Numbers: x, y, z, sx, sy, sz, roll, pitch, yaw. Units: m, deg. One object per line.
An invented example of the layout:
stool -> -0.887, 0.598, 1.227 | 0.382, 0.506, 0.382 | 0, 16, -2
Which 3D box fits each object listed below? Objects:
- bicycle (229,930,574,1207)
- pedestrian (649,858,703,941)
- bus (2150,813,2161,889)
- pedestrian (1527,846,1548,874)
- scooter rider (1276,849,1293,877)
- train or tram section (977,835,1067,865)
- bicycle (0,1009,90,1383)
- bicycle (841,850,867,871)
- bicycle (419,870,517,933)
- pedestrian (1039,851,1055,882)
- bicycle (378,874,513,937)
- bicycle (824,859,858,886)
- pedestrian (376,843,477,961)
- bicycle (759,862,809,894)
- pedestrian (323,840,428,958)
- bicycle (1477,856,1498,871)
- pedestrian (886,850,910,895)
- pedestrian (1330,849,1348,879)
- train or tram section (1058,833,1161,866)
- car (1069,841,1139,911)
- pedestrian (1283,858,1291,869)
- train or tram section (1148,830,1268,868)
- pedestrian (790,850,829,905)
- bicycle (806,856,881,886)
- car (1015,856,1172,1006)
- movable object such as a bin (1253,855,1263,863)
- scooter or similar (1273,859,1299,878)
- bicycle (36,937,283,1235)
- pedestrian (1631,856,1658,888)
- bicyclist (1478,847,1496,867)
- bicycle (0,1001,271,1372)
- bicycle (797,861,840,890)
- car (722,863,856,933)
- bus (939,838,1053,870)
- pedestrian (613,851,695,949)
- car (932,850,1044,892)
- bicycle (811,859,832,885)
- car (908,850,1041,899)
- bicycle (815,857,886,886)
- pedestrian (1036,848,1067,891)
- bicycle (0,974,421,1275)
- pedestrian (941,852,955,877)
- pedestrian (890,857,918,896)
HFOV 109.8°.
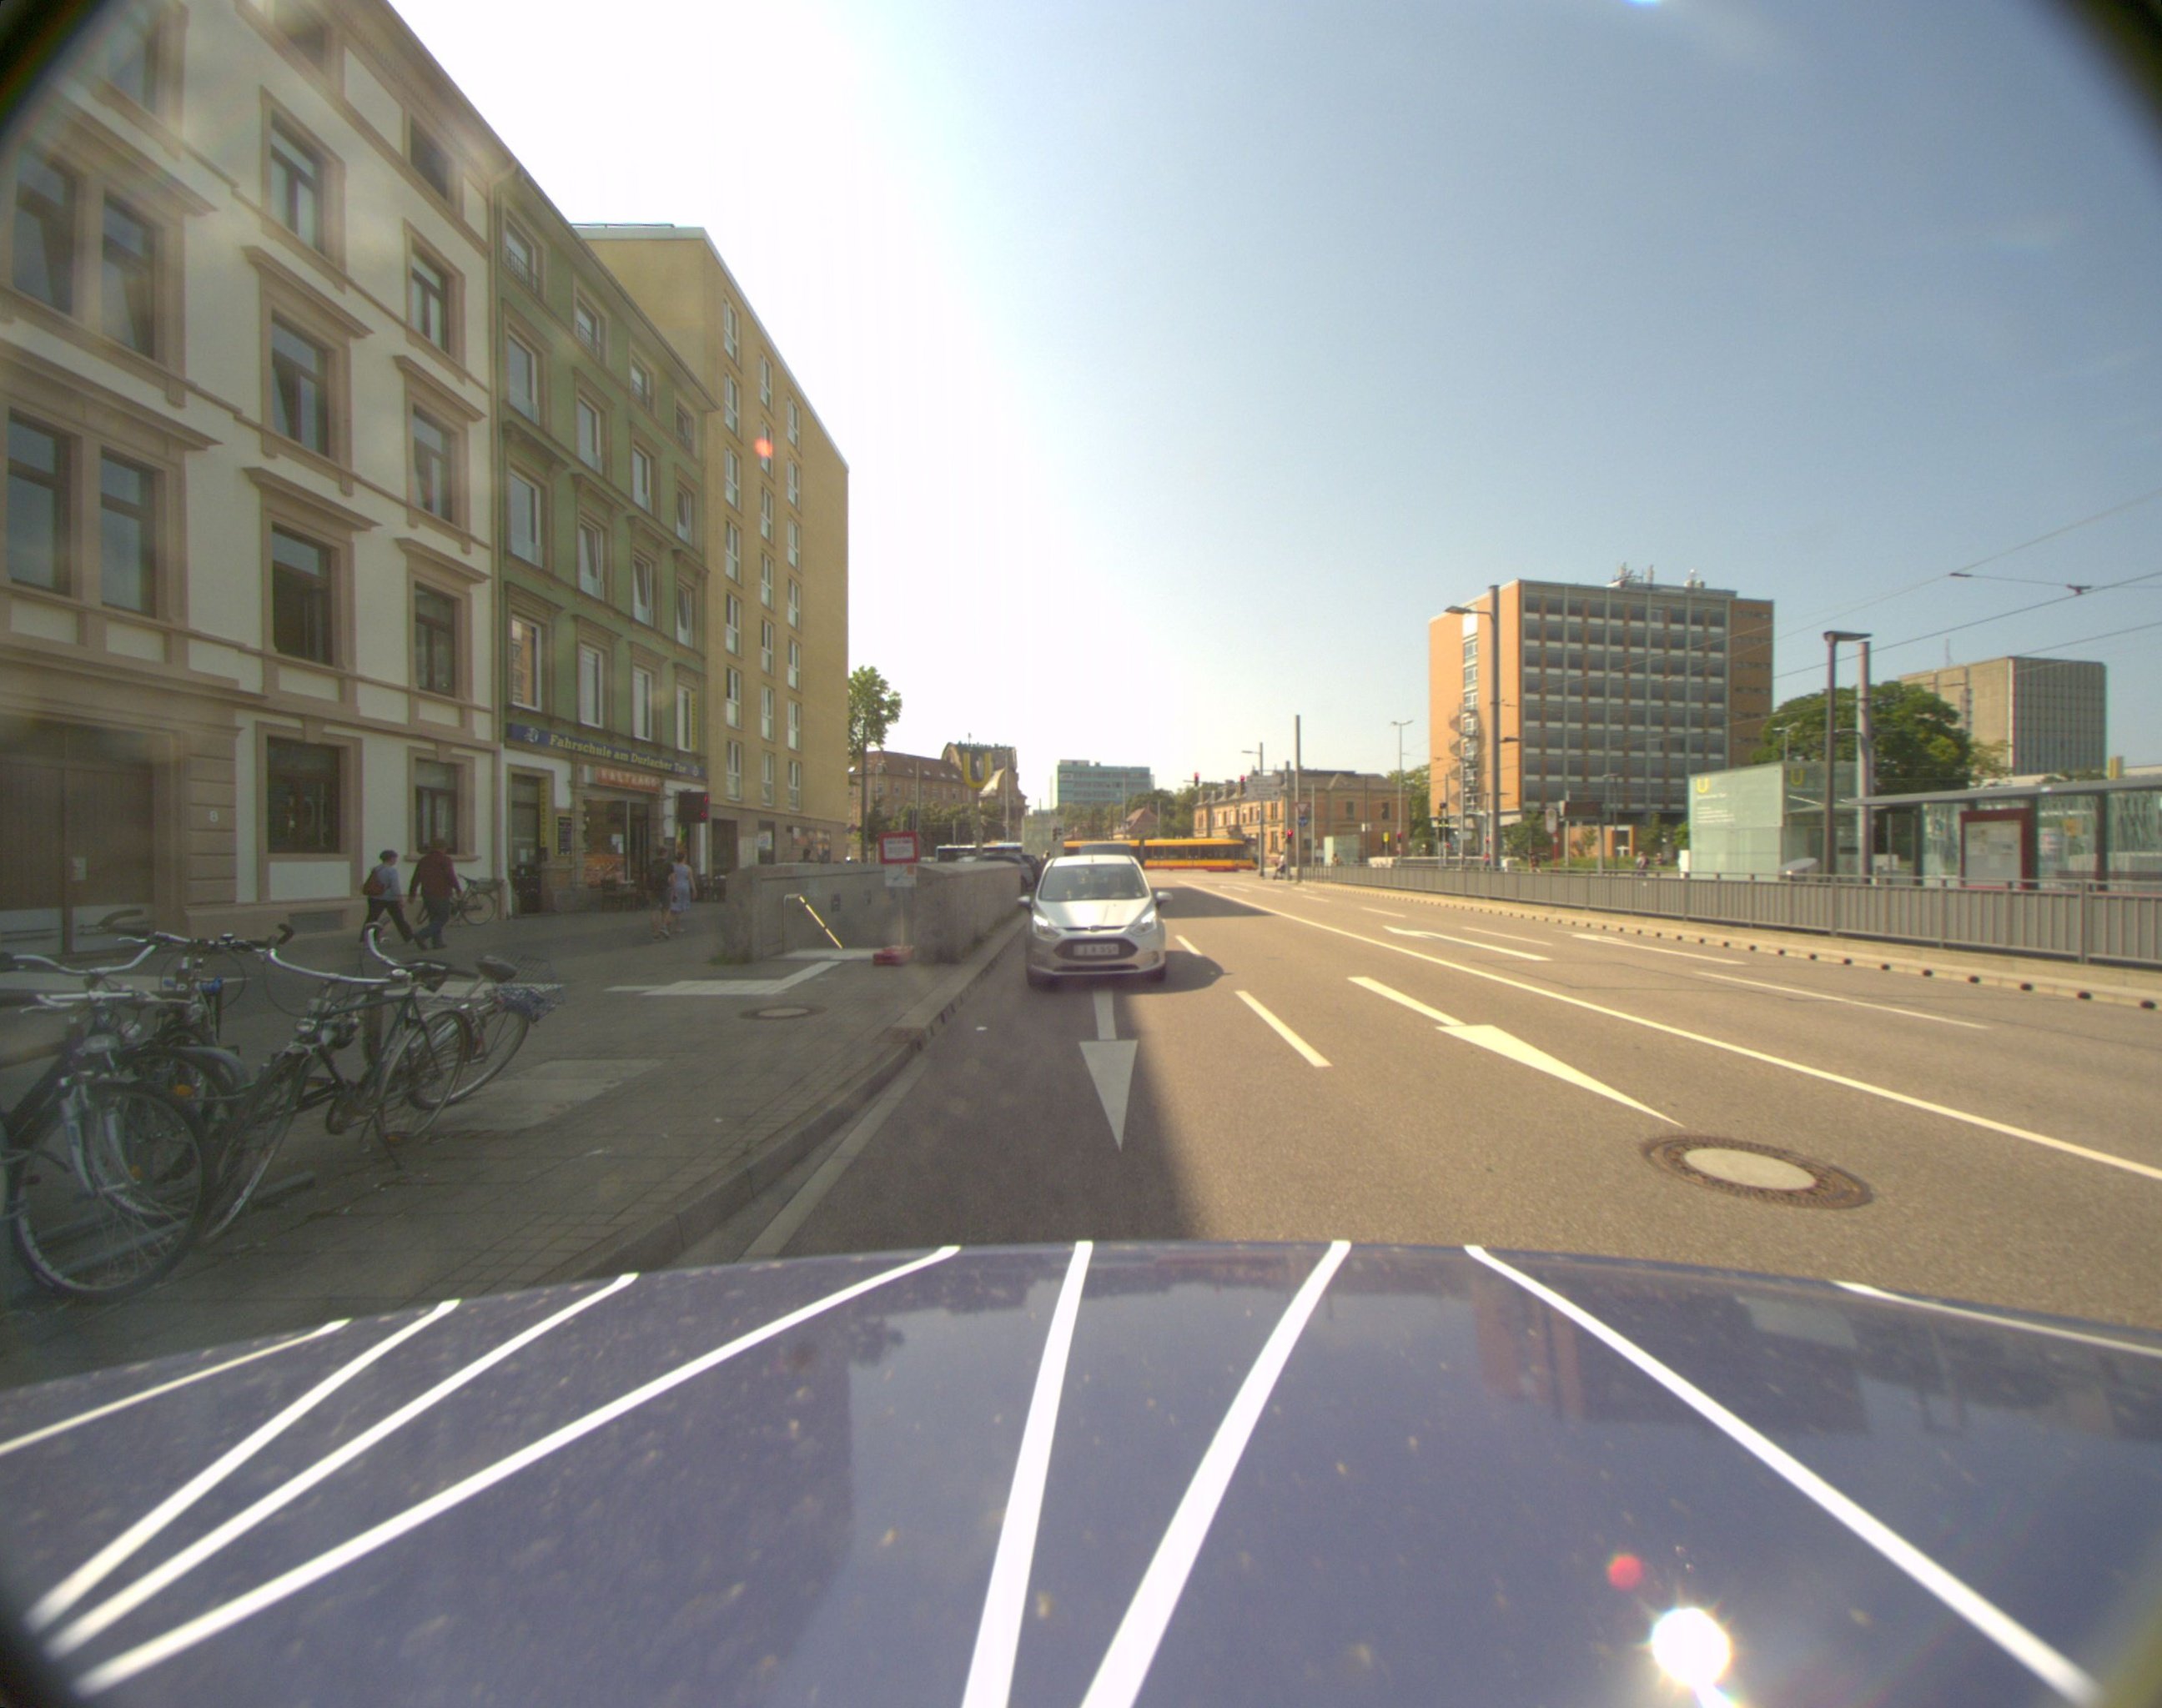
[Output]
bicycle -> -3.496, 1.022, 4.102 | 0.477, 1.065, 1.506 | 0, 1, 1
pedestrian -> -8.105, 0.881, 15.201 | 0.854, 1.573, 0.968 | -1, 1, -32
bus -> 51.713, -0.173, 28.768 | 12.721, 3.311, 2.683 | 0, 0, 44
pedestrian -> 29.079, 0.391, 48.448 | 0.785, 1.770, 0.959 | 0, 2, 4
scooter rider -> 12.051, 0.520, 45.013 | 0.773, 1.663, 0.779 | 0, 1, 0
train or tram section -> -7.274, -0.463, 92.180 | 12.181, 3.540, 2.601 | 0, 0, 37
bicycle -> -4.125, 1.049, 2.283 | 1.840, 1.065, 0.365 | -1, 0, 1
bicycle -> -13.644, 0.373, 45.733 | 0.794, 1.231, 2.435 | 0, 0, 1
bicycle -> -12.473, 0.934, 15.534 | 0.459, 1.177, 1.847 | 0, 0, 1
pedestrian -> -2.031, 0.714, 45.198 | 0.821, 1.797, 0.814 | -2, 1, 1
bicycle -> -12.508, 0.975, 15.091 | 0.481, 1.139, 2.472 | 0, -2, 3
bicycle -> -11.577, 0.885, 36.708 | 0.590, 1.231, 1.548 | 0, 0, 33
pedestrian -> -10.168, 0.725, 11.845 | 0.685, 1.763, 1.018 | 0, 0, 1
bicycle -> -12.053, 0.950, 30.967 | 0.941, 1.231, 2.423 | 0, 0, 4
pedestrian -> -11.044, 0.687, 11.930 | 0.685, 1.763, 1.018 | 0, 0, 1
bicycle -> 29.779, 0.656, 55.692 | 0.614, 1.063, 1.913 | 0, 0, 4
pedestrian -> -6.842, 0.686, 28.444 | 0.672, 1.675, 0.943 | 0, 0, 1
pedestrian -> 14.153, 0.553, 41.721 | 0.574, 1.648, 0.800 | 0, -2, -17
train or tram section -> 2.971, -0.471, 84.460 | 12.181, 3.540, 2.601 | 0, 0, 37
car -> 0.761, 0.585, 23.381 | 1.899, 1.919, 4.886 | 0, 1, 3
pedestrian -> 26.135, 1.196, 96.232 | 0.847, 1.386, 0.787 | 0, 0, 3
train or tram section -> 12.690, -0.478, 77.091 | 12.181, 3.540, 2.601 | 0, 0, 37
pedestrian -> -7.970, 0.658, 22.302 | 0.854, 1.573, 0.968 | -1, 1, -32
bicycle -> -11.472, 0.802, 36.796 | 3.370, 1.396, 0.902 | 0, 0, -35
car -> 0.157, 0.841, 10.404 | 1.691, 1.585, 4.361 | 0, 0, 1
movable object such as a bin -> 23.956, 0.725, 102.650 | 1.035, 1.078, 0.822 | -2, -2, 42
scooter or similar -> 12.136, 0.862, 45.028 | 1.341, 1.142, 0.709 | 0, 1, 1
bicycle -> -4.675, 1.050, 3.943 | 1.559, 1.113, 0.694 | -2, -1, 43
pedestrian -> 31.263, 0.987, 42.140 | 0.785, 1.770, 0.959 | 0, 2, 4
bicyclist -> 29.767, 0.189, 55.719 | 0.877, 1.451, 0.980 | 0, 1, 5
bicycle -> -3.647, 1.065, 2.519 | 1.541, 1.065, 0.365 | -1, 0, 1
bicycle -> -11.630, 0.932, 33.792 | 0.941, 1.231, 2.423 | 0, 0, 4
car -> -6.536, 0.919, 17.413 | 1.635, 1.432, 3.620 | 0, -1, 1
bus -> -8.600, 0.038, 75.527 | 12.049, 3.046, 2.740 | 0, 0, 30
pedestrian -> -7.816, 0.827, 13.964 | 0.851, 1.718, 0.972 | 1, -1, 8
car -> -3.945, 0.670, 32.678 | 4.401, 1.677, 1.981 | -1, 1, -41
bicycle -> -12.376, 0.844, 36.246 | 0.409, 1.231, 1.827 | 0, 0, -1
car -> -3.989, 0.730, 28.969 | 4.675, 1.704, 2.038 | -1, 1, -41
bicycle -> -11.758, 0.868, 38.899 | 3.370, 1.396, 0.902 | 0, 0, -35
pedestrian -> -1.246, 0.650, 31.988 | 0.870, 1.741, 0.871 | -3, -1, -32
bicycle -> -3.982, 1.081, 3.114 | 2.127, 1.065, 0.382 | -1, 0, -3
pedestrian -> -8.499, 0.651, 48.583 | 0.793, 1.600, 0.949 | 0, 1, -2
pedestrian -> -7.471, 0.936, 32.089 | 0.854, 1.573, 0.968 | -1, 1, -32
